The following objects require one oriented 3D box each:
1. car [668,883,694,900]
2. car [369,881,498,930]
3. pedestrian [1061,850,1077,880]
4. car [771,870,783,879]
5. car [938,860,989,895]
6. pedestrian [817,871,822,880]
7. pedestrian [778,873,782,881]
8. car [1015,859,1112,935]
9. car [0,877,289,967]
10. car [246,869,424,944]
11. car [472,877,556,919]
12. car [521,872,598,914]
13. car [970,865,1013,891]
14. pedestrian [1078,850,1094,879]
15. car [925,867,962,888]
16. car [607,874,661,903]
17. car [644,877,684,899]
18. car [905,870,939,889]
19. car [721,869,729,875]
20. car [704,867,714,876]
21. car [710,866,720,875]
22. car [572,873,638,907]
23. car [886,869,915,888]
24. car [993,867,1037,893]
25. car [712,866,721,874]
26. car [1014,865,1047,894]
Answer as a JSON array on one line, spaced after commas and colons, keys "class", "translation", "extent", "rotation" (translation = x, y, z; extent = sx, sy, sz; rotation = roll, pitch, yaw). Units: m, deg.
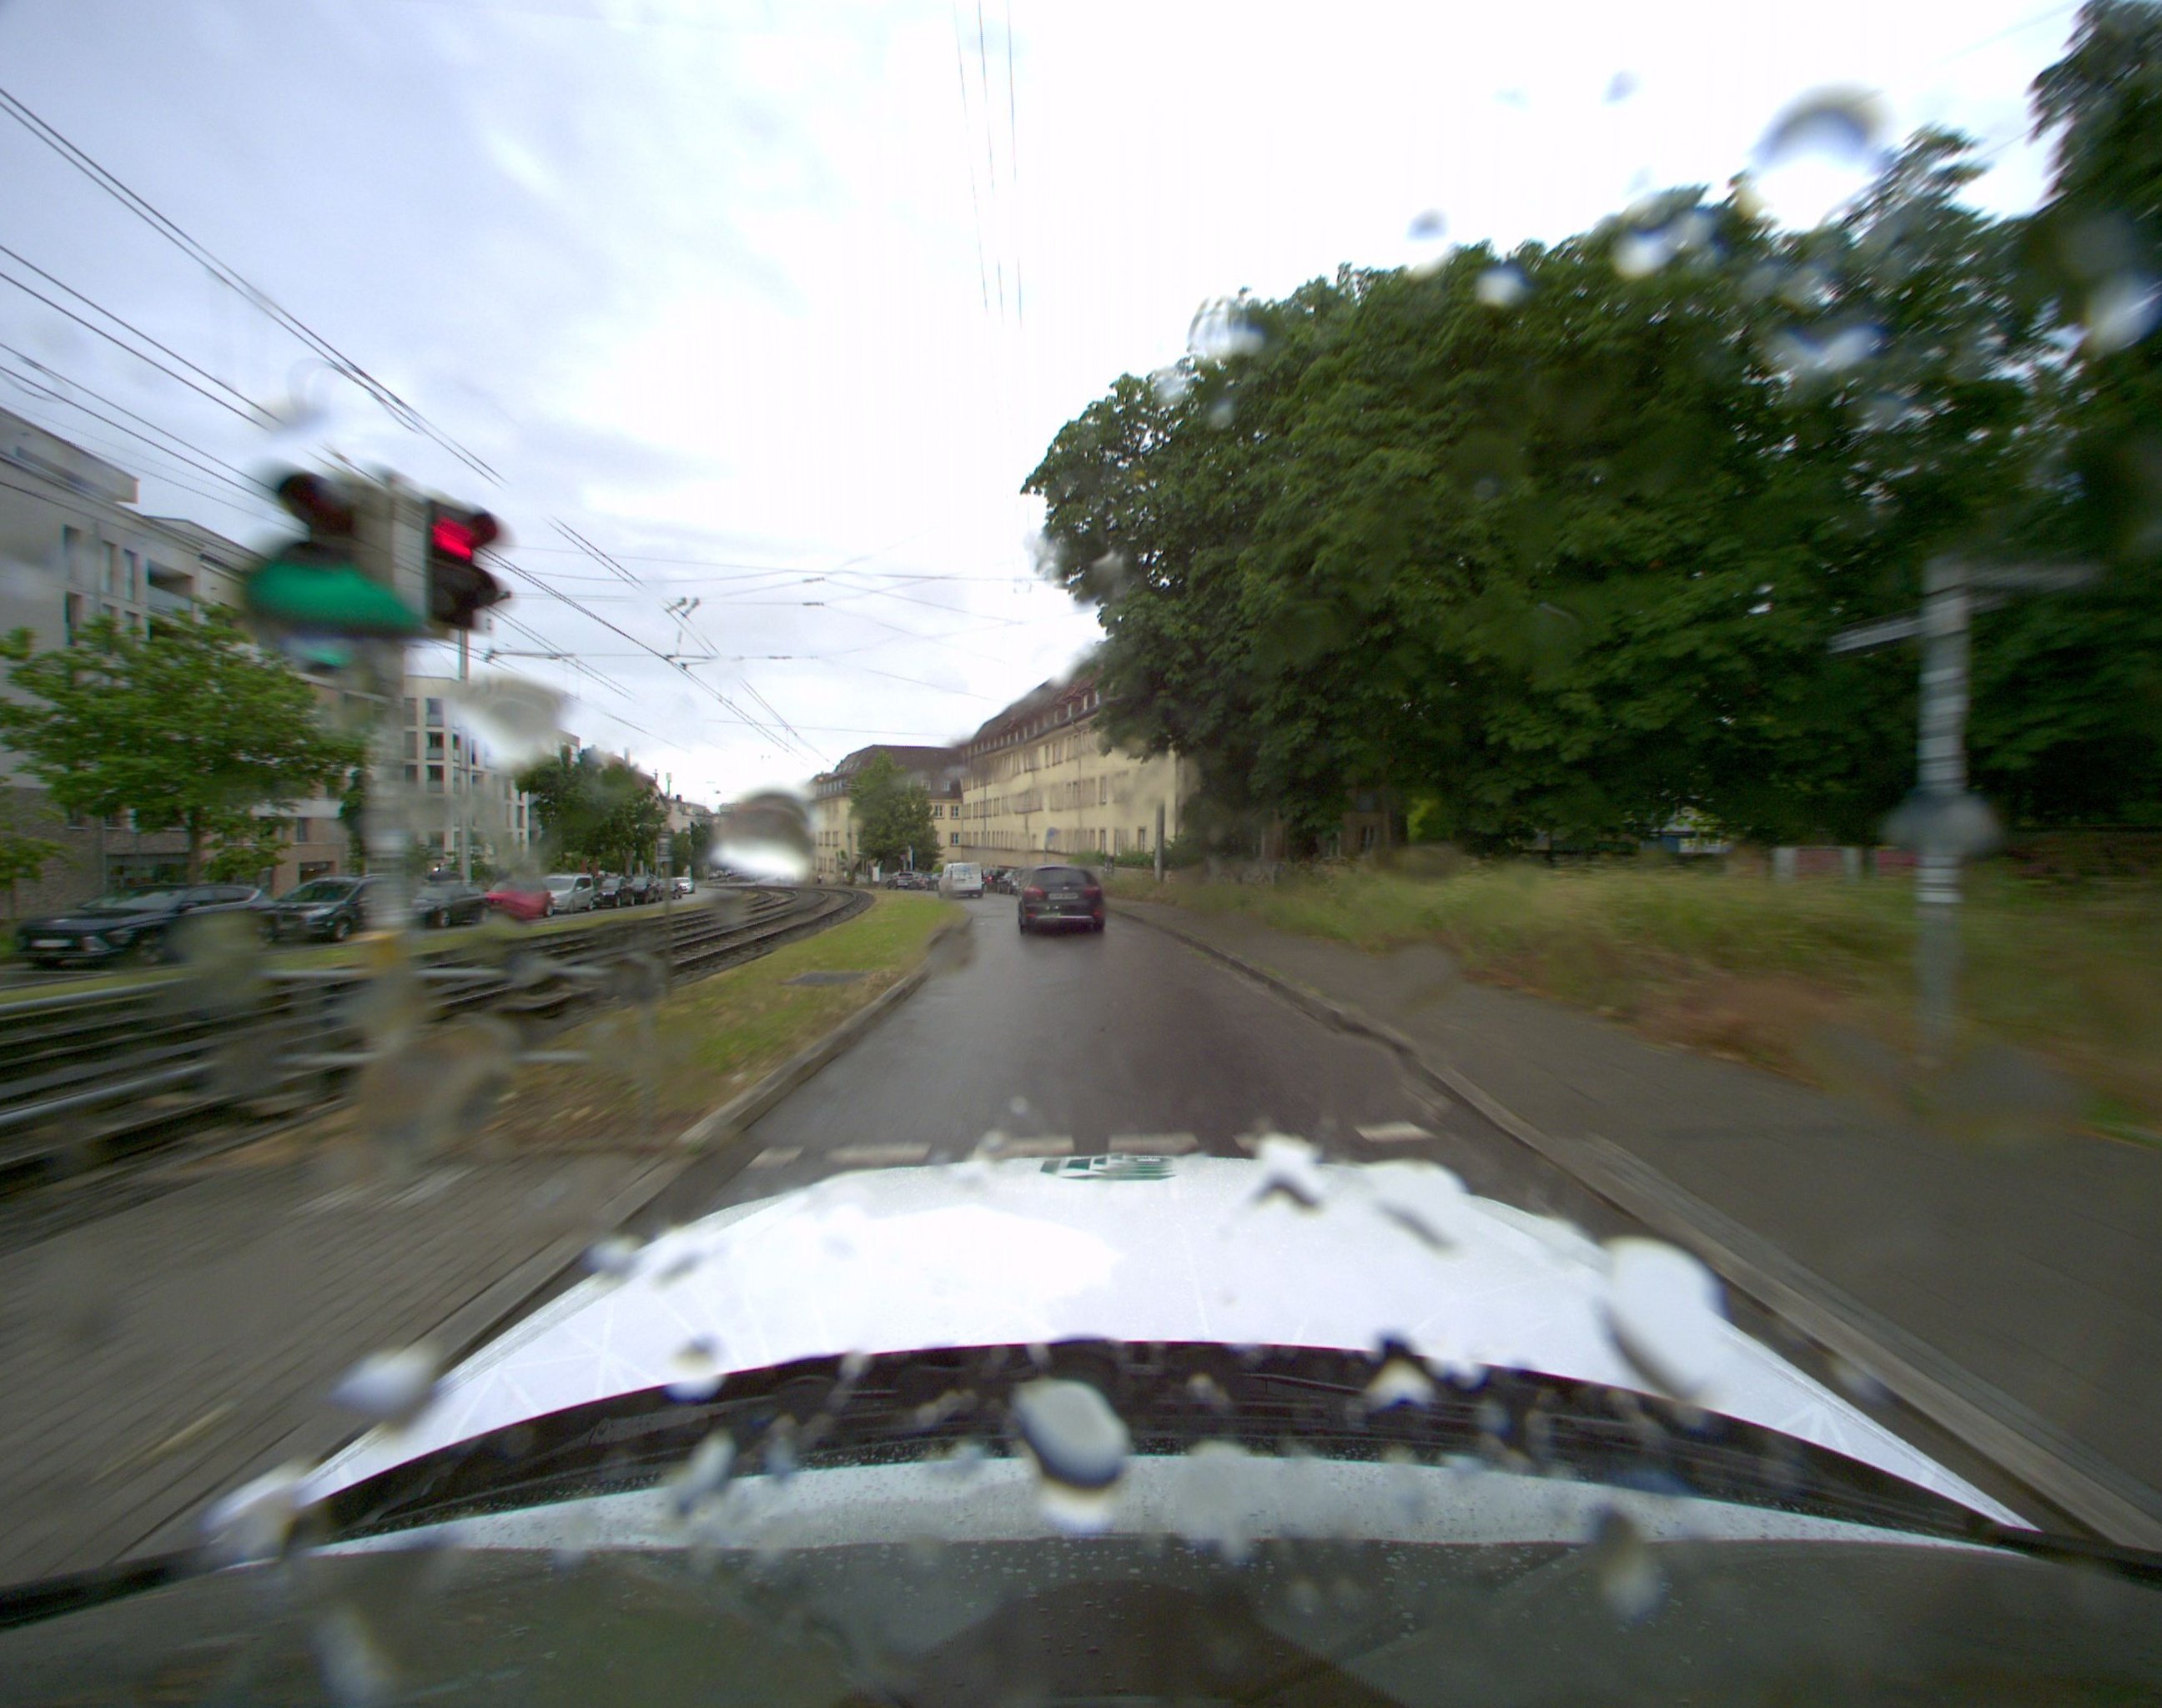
[{"class": "car", "translation": [-37.080, 3.446, 75.585], "extent": [1.772, 1.479, 3.708], "rotation": [-1, -1, -21]}, {"class": "car", "translation": [-21.750, 1.681, 27.580], "extent": [1.551, 1.447, 4.382], "rotation": [0, -1, -11]}, {"class": "pedestrian", "translation": [-0.705, 0.681, 48.517], "extent": [0.719, 1.754, 0.735], "rotation": [-2, -1, -17]}, {"class": "car", "translation": [-60.314, 4.046, 161.760], "extent": [1.999, 1.772, 3.976], "rotation": [-1, -1, -18]}, {"class": "car", "translation": [-6.400, 1.222, 43.973], "extent": [2.142, 1.745, 4.194], "rotation": [-2, 0, -16]}, {"class": "pedestrian", "translation": [-37.722, 3.139, 117.456], "extent": [0.507, 1.315, 0.506], "rotation": [-1, -1, -29]}, {"class": "pedestrian", "translation": [-53.624, 4.091, 145.012], "extent": [0.512, 1.315, 0.501], "rotation": [-1, -1, -26]}, {"class": "car", "translation": [-0.510, 0.875, 18.576], "extent": [1.917, 1.479, 3.993], "rotation": [-2, 0, -5]}, {"class": "car", "translation": [-19.548, 1.339, 17.183], "extent": [1.994, 1.605, 4.198], "rotation": [2, -2, -11]}, {"class": "car", "translation": [-20.385, 1.365, 22.537], "extent": [1.582, 1.859, 4.315], "rotation": [1, -1, -12]}, {"class": "car", "translation": [-22.200, 1.692, 32.003], "extent": [1.468, 1.531, 2.923], "rotation": [1, -1, -8]}, {"class": "car", "translation": [-23.474, 1.692, 36.836], "extent": [1.665, 1.748, 4.236], "rotation": [-1, -1, -14]}, {"class": "car", "translation": [-5.896, 1.582, 53.401], "extent": [1.674, 1.573, 3.824], "rotation": [-2, -1, -25]}, {"class": "pedestrian", "translation": [0.281, 0.632, 48.838], "extent": [0.719, 1.754, 0.735], "rotation": [-2, -1, -17]}, {"class": "car", "translation": [-10.717, 1.839, 63.138], "extent": [1.674, 1.476, 4.420], "rotation": [-2, 0, -25]}, {"class": "car", "translation": [-26.046, 1.964, 47.574], "extent": [1.807, 1.584, 4.671], "rotation": [0, -1, -17]}, {"class": "car", "translation": [-29.468, 2.379, 57.628], "extent": [1.972, 1.431, 4.171], "rotation": [0, -1, -19]}, {"class": "car", "translation": [-13.389, 2.134, 68.389], "extent": [1.675, 1.476, 4.071], "rotation": [-2, 0, -28]}, {"class": "car", "translation": [-98.190, 4.878, 224.749], "extent": [2.002, 1.662, 3.968], "rotation": [-1, -1, -24]}, {"class": "car", "translation": [-89.331, 4.263, 195.456], "extent": [2.002, 2.014, 3.968], "rotation": [-1, -1, -24]}, {"class": "car", "translation": [-91.196, 4.126, 202.955], "extent": [2.002, 2.014, 3.968], "rotation": [-1, -1, -24]}, {"class": "car", "translation": [-24.549, 1.823, 42.145], "extent": [1.734, 1.644, 4.509], "rotation": [0, -1, -14]}, {"class": "car", "translation": [-16.345, 2.208, 73.580], "extent": [1.674, 1.524, 4.074], "rotation": [-2, 0, -25]}, {"class": "car", "translation": [-3.948, 1.512, 48.256], "extent": [1.542, 1.416, 3.616], "rotation": [-2, 0, -22]}, {"class": "car", "translation": [-94.842, 4.162, 211.846], "extent": [2.002, 2.014, 3.968], "rotation": [-1, -1, -24]}, {"class": "car", "translation": [-2.770, 1.372, 44.478], "extent": [1.596, 1.465, 2.714], "rotation": [-2, 0, -7]}]
